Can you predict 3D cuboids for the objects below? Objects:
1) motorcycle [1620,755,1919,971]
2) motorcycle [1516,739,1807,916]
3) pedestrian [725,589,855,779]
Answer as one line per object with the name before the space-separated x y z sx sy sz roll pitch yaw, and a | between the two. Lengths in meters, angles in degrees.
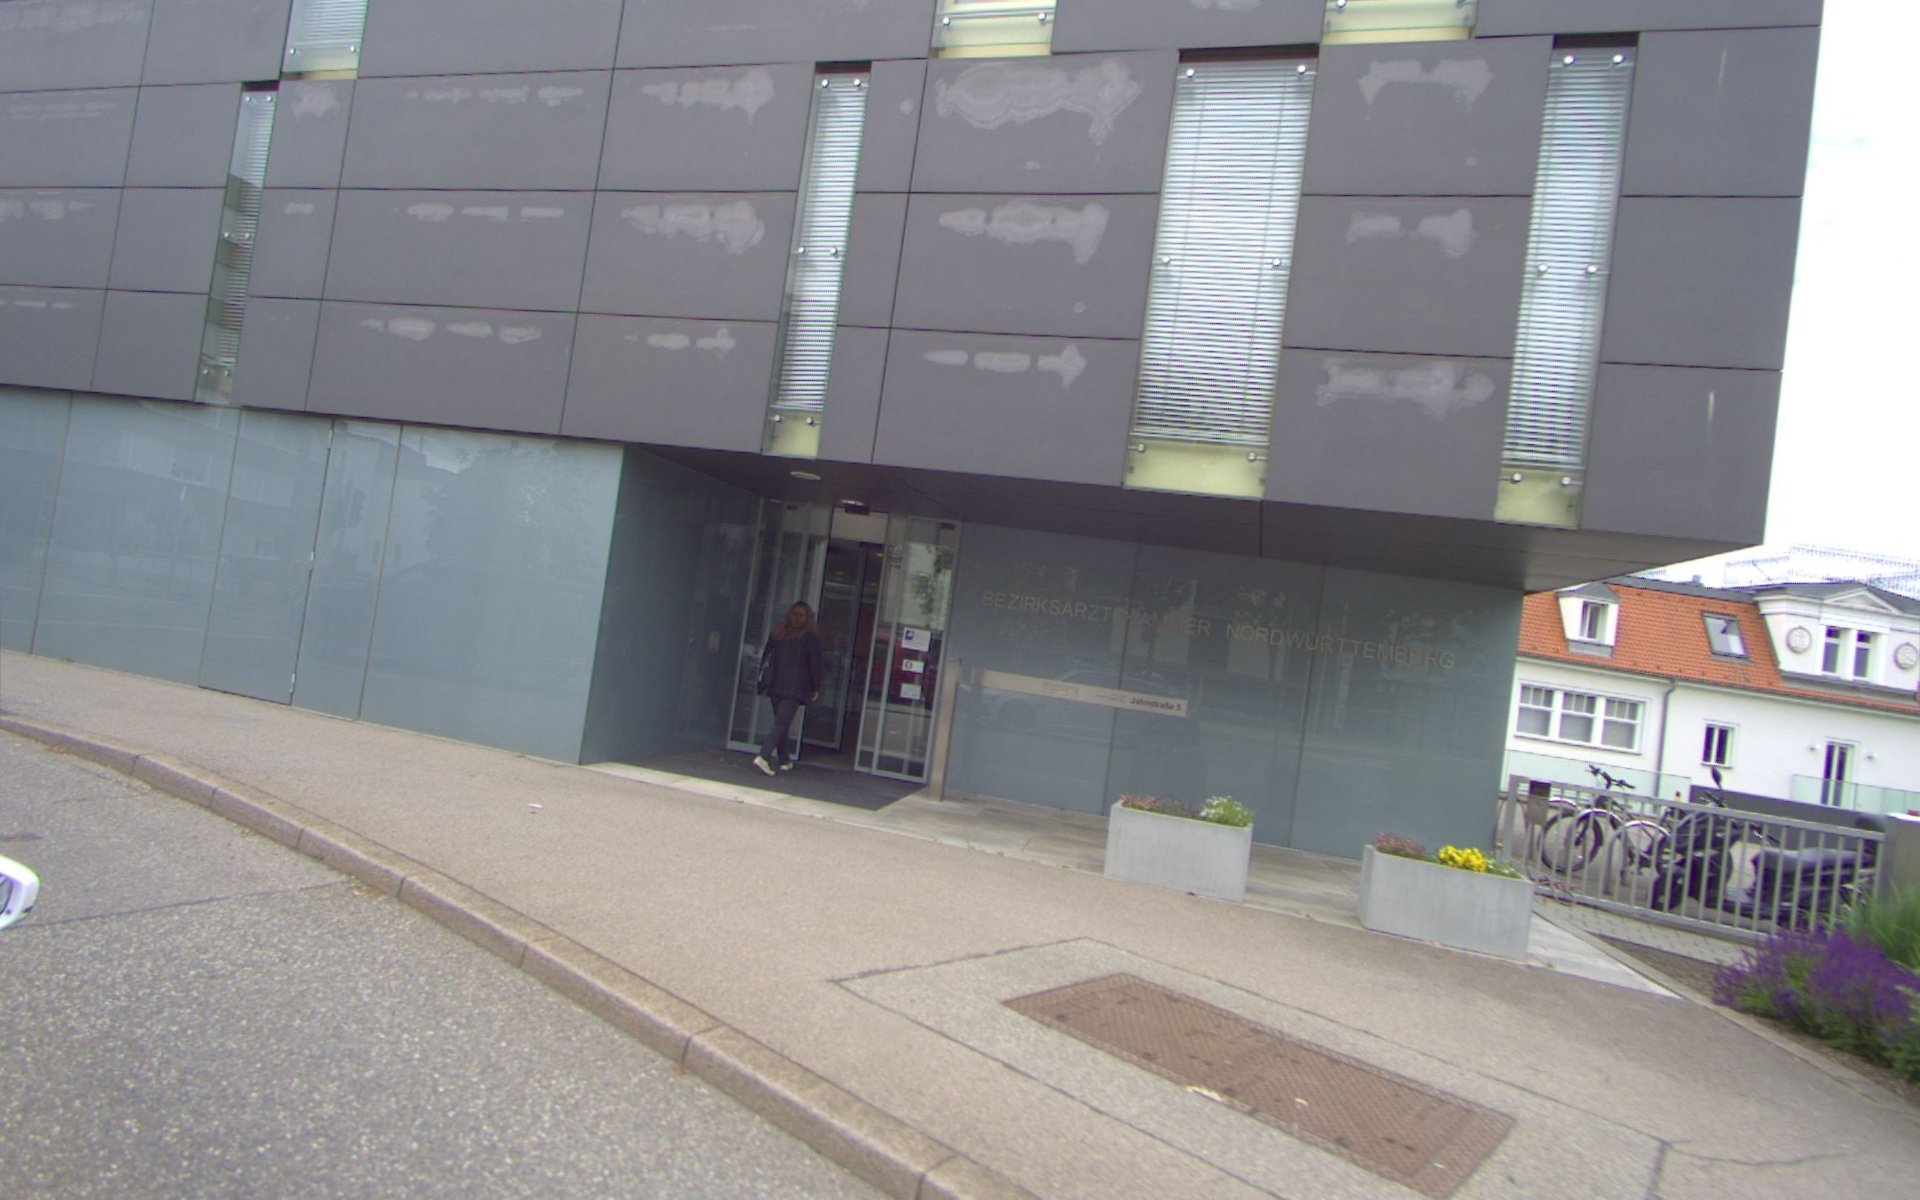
motorcycle | 7.416 2.329 9.192 2.086 1.409 0.670 8 -1 24
motorcycle | 7.645 2.443 11.120 2.419 1.409 0.670 7 -2 24
pedestrian | -1.668 0.826 9.963 0.701 1.713 0.866 7 -1 24
